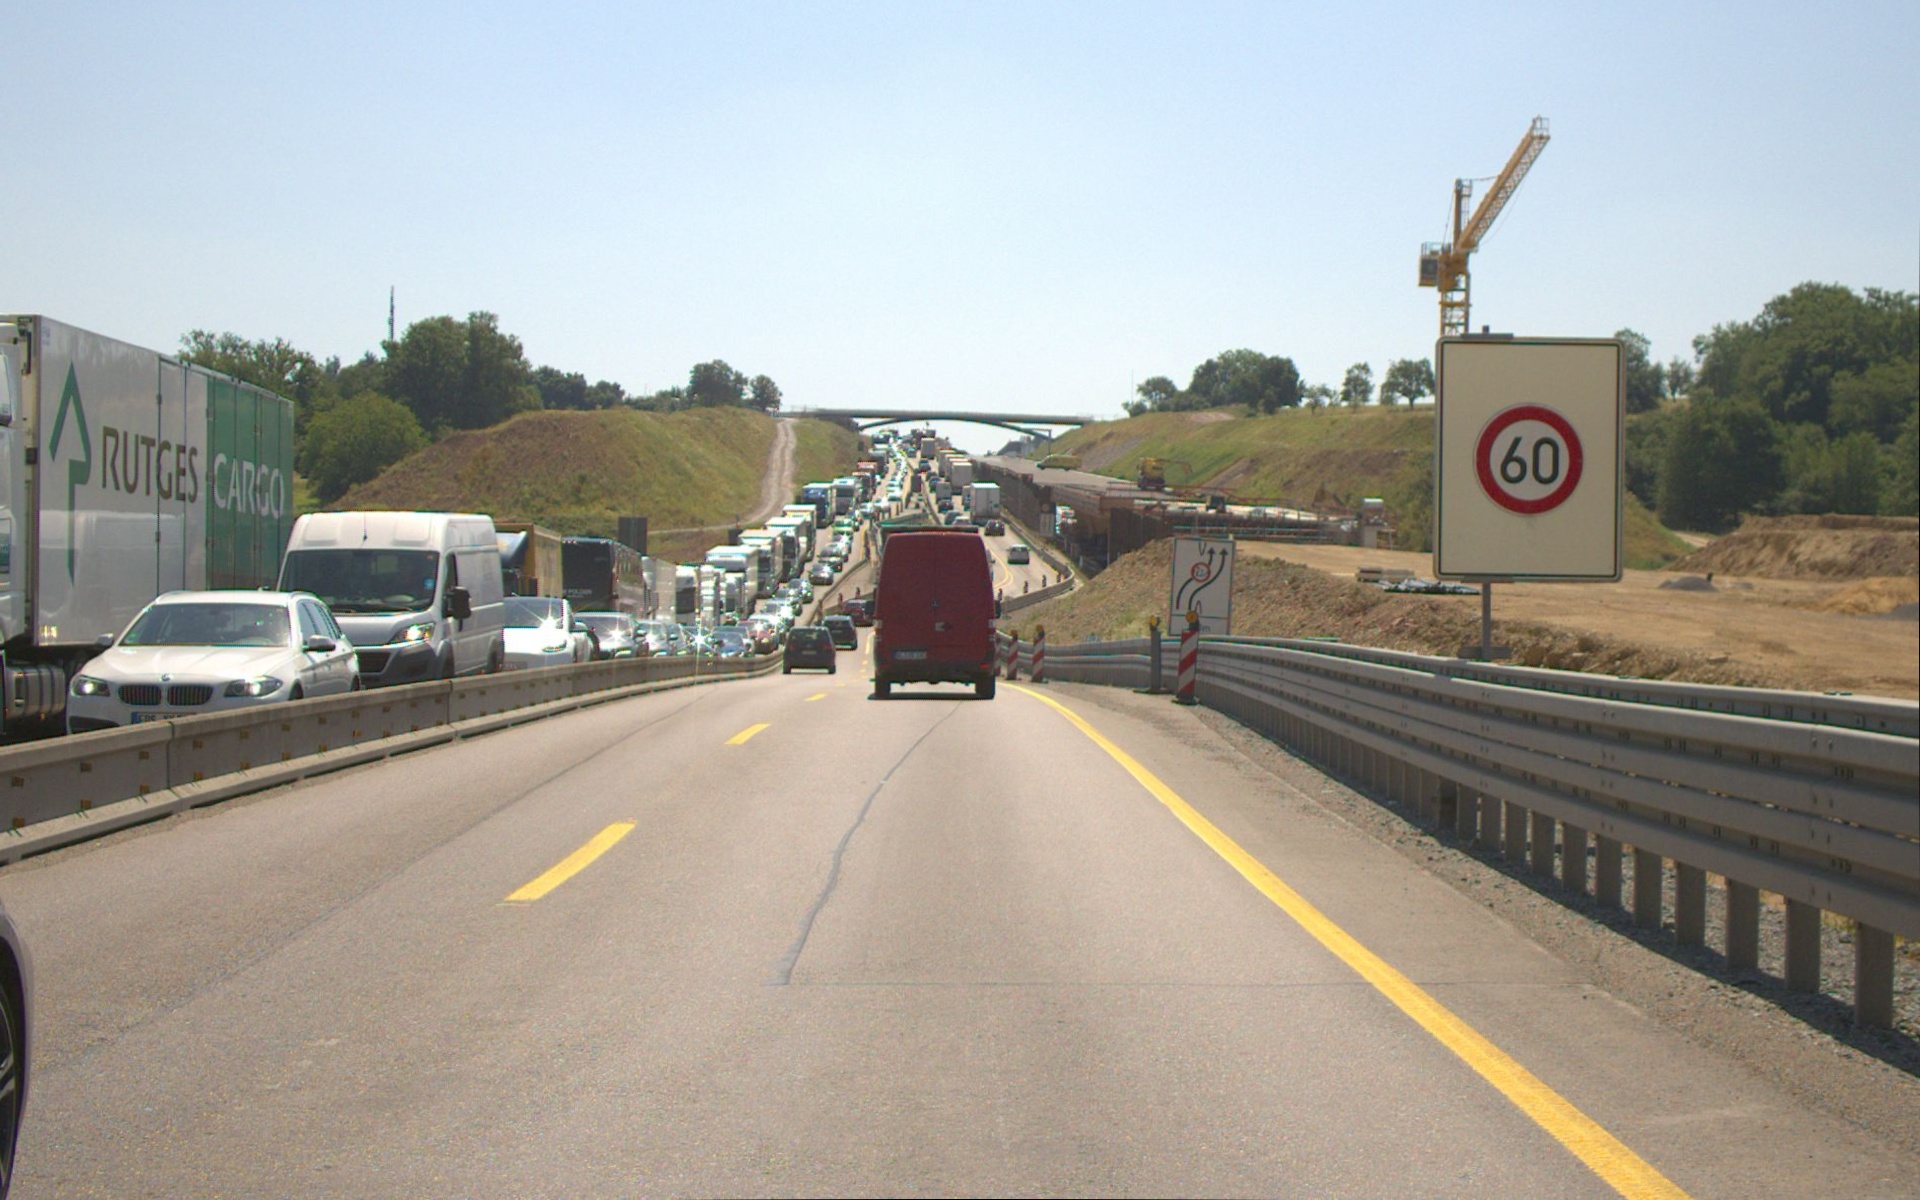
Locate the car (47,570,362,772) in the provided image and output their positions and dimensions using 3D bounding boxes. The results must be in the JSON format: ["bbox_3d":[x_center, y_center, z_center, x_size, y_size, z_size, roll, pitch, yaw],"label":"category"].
[{"bbox_3d":[-6.411,0.544,29.698,1.993,1.493,4.976,2,1,-5],"label":"car"}]

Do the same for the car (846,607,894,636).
[{"bbox_3d":[-5.186,1.228,197.539,2.012,1.540,4.131,2,1,9],"label":"car"}]

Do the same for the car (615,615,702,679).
[{"bbox_3d":[-7.584,1.156,86.834,1.838,1.439,4.930,2,1,-2],"label":"car"}]

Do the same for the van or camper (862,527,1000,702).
[{"bbox_3d":[-0.520,0.215,56.582,2.029,2.735,4.516,1,0,-3],"label":"van or camper"}]

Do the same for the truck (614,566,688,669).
[{"bbox_3d":[-12.906,0.742,144.009,2.977,4.171,5.875,1,0,-4],"label":"truck"}]

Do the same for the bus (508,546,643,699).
[{"bbox_3d":[-11.556,0.549,104.588,2.739,4.249,14.477,2,1,-2],"label":"bus"}]

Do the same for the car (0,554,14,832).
[{"bbox_3d":[-6.477,0.542,18.347,1.756,1.641,4.156,2,1,-2],"label":"car"}]

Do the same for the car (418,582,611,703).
[{"bbox_3d":[-7.103,0.635,55.459,2.371,1.720,5.781,2,1,-1],"label":"car"}]

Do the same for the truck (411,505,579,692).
[{"bbox_3d":[-11.037,-0.053,82.526,2.802,4.138,10.080,2,0,-1],"label":"truck"}]

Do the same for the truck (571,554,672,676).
[{"bbox_3d":[-11.932,0.513,121.536,3.097,4.184,6.702,1,0,-2],"label":"truck"}]

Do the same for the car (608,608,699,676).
[{"bbox_3d":[-7.167,0.974,80.745,1.859,1.489,4.905,-2,0,-2],"label":"car"}]

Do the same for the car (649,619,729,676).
[{"bbox_3d":[-7.623,1.328,97.004,1.918,1.418,5.091,2,0,-2],"label":"car"}]

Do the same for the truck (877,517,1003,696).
[{"bbox_3d":[-0.604,0.138,94.148,3.020,4.677,6.933,-1,1,-3],"label":"truck"}]

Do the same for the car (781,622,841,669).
[{"bbox_3d":[-5.171,1.560,119.333,2.012,1.540,4.133,1,0,-3],"label":"car"}]

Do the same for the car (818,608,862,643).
[{"bbox_3d":[-5.790,1.225,165.984,2.012,1.540,4.133,2,1,-2],"label":"car"}]

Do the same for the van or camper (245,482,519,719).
[{"bbox_3d":[-6.734,-0.031,40.842,2.218,2.503,6.534,2,1,-1],"label":"van or camper"}]

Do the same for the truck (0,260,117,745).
[{"bbox_3d":[-10.094,-0.905,32.428,2.806,4.377,6.225,0,1,-1],"label":"truck"}]

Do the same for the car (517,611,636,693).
[{"bbox_3d":[-7.580,1.012,68.393,1.882,1.427,5.125,2,1,-2],"label":"car"}]

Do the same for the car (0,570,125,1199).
[{"bbox_3d":[-3.014,0.675,6.077,1.852,1.447,4.742,0,1,1],"label":"car"}]

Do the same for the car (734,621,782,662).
[{"bbox_3d":[-8.919,1.833,151.922,1.993,1.626,4.758,2,1,-2],"label":"car"}]

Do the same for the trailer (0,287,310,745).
[{"bbox_3d":[-10.115,-0.772,39.769,2.815,4.415,13.168,0,0,0],"label":"trailer"}]

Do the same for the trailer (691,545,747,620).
[{"bbox_3d":[-14.134,-1.027,202.070,2.594,4.243,12.468,1,0,-1],"label":"trailer"}]
